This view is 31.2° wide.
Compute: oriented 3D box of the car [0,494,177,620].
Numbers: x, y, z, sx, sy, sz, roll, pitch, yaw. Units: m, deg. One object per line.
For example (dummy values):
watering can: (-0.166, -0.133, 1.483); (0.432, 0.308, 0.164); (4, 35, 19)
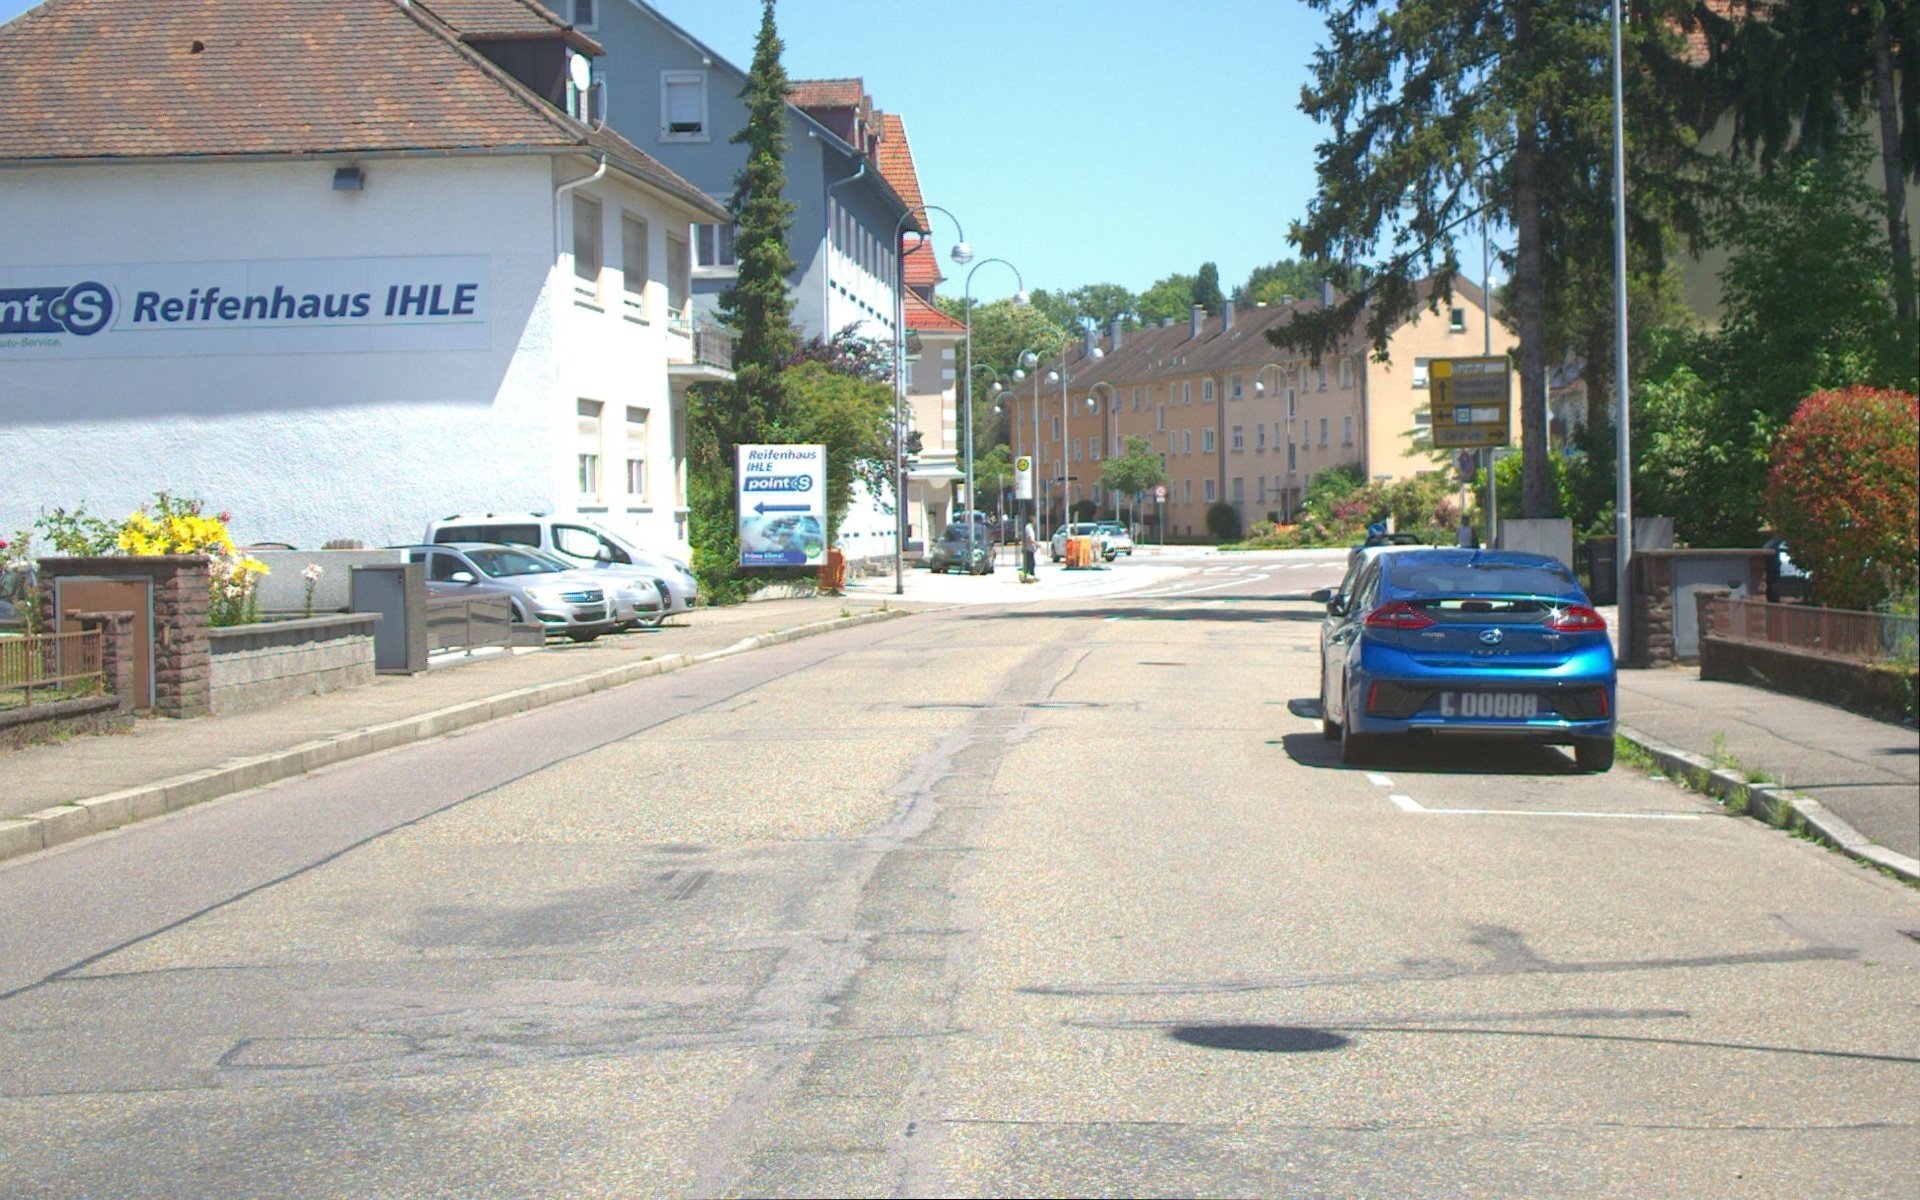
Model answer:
car: (-11.853, -0.578, 43.330); (3.996, 1.505, 1.796); (1, 3, 39)

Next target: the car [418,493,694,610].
car: (-6.323, -0.775, 54.172); (4.128, 1.768, 1.829); (-1, 2, -1)

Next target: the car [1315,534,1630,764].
car: (3.504, 0.270, 24.189); (1.778, 1.400, 4.286); (1, 2, 3)

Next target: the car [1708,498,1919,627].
car: (11.760, -0.497, 44.044); (3.987, 1.605, 1.833); (0, 2, 3)

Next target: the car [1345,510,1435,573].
car: (10.763, -1.473, 85.824); (1.795, 1.505, 3.998); (0, 2, 13)

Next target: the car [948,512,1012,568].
car: (0.630, -1.825, 104.381); (1.757, 1.650, 4.000); (0, 1, 3)

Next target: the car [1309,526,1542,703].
car: (4.087, 0.073, 30.700); (1.725, 1.414, 4.014); (1, 2, 3)

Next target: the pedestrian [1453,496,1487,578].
pedestrian: (11.068, -1.358, 74.596); (0.689, 1.764, 0.691); (0, 0, 10)

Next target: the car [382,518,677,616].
car: (-6.416, -0.508, 51.562); (4.129, 1.389, 1.828); (0, 2, 3)

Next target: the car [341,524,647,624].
car: (-6.619, -0.390, 48.654); (4.138, 1.339, 1.907); (1, 2, 37)
